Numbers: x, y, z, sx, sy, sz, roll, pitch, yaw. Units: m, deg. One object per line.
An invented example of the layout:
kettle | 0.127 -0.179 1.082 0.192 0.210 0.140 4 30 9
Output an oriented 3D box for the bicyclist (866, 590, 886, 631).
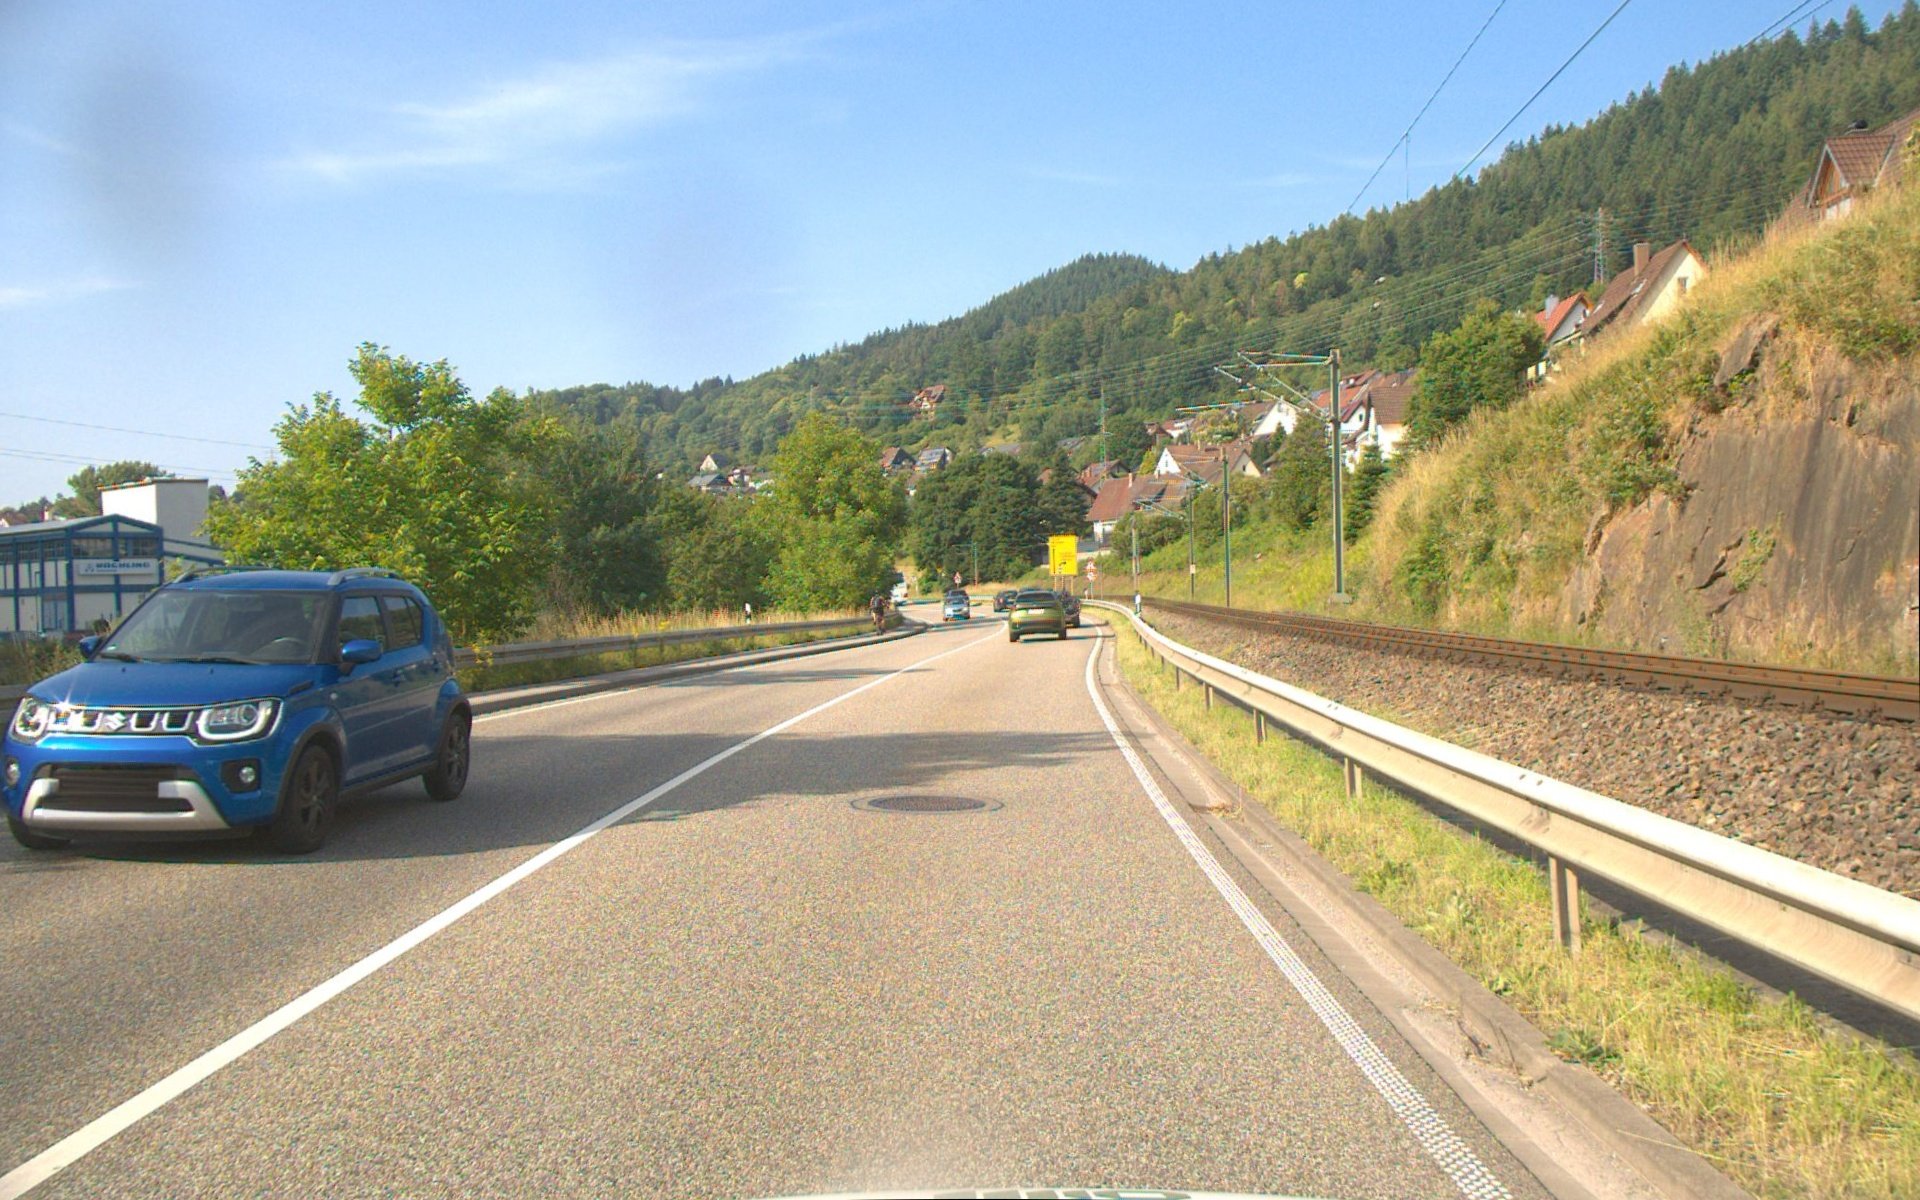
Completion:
bicyclist | -3.367 0.395 66.153 0.545 1.614 1.036 0 1 13

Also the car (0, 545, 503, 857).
car | -4.372 0.516 10.583 1.715 1.594 4.000 1 0 1

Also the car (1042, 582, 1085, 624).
car | 4.040 0.114 64.782 1.632 1.586 4.002 0 0 3

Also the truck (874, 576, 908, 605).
truck | -7.573 -1.040 180.968 2.665 3.138 6.088 0 0 -13

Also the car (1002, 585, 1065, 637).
car | 2.213 0.325 50.688 1.680 1.480 3.999 -2 0 -1

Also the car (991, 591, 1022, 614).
car | 3.226 0.149 116.029 1.812 1.553 3.659 -1 0 -4

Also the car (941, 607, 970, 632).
car | -0.252 1.239 105.218 1.544 1.505 4.002 2 0 4

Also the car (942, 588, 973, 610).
car | -0.251 -0.093 148.640 2.026 1.843 3.990 -2 0 -11

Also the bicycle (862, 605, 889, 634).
bicycle | -3.365 0.771 66.069 0.545 1.064 2.231 0 1 12
